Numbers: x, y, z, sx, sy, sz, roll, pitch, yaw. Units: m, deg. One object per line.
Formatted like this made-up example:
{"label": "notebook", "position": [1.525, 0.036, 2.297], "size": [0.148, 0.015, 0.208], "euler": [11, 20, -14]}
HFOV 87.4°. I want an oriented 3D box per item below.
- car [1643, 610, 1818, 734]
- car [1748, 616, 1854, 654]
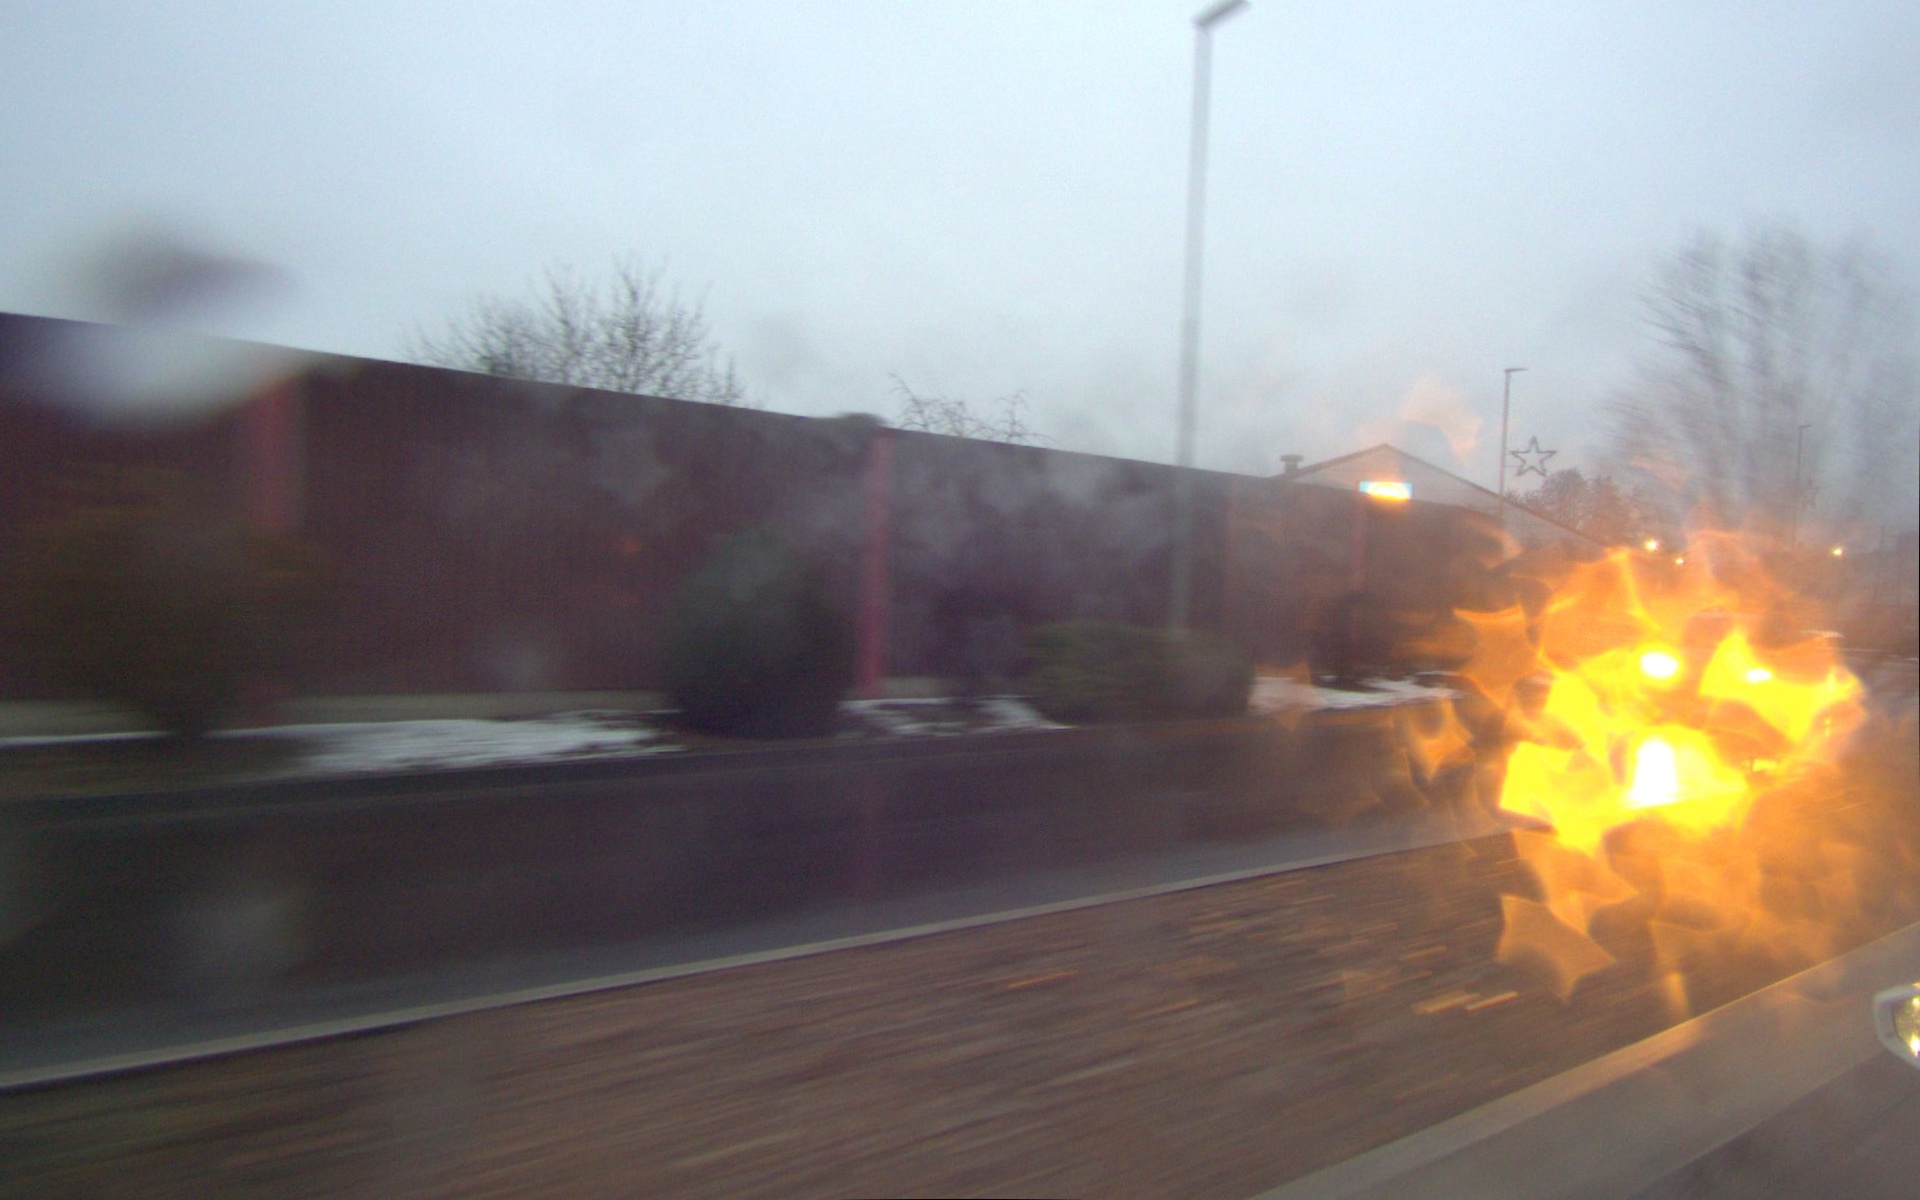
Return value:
{"label": "car", "position": [11.057, 0.925, 14.323], "size": [1.590, 1.489, 3.663], "euler": [2, 1, 43]}
{"label": "car", "position": [44.181, 1.796, 52.895], "size": [2.024, 1.582, 4.281], "euler": [4, 2, 4]}
